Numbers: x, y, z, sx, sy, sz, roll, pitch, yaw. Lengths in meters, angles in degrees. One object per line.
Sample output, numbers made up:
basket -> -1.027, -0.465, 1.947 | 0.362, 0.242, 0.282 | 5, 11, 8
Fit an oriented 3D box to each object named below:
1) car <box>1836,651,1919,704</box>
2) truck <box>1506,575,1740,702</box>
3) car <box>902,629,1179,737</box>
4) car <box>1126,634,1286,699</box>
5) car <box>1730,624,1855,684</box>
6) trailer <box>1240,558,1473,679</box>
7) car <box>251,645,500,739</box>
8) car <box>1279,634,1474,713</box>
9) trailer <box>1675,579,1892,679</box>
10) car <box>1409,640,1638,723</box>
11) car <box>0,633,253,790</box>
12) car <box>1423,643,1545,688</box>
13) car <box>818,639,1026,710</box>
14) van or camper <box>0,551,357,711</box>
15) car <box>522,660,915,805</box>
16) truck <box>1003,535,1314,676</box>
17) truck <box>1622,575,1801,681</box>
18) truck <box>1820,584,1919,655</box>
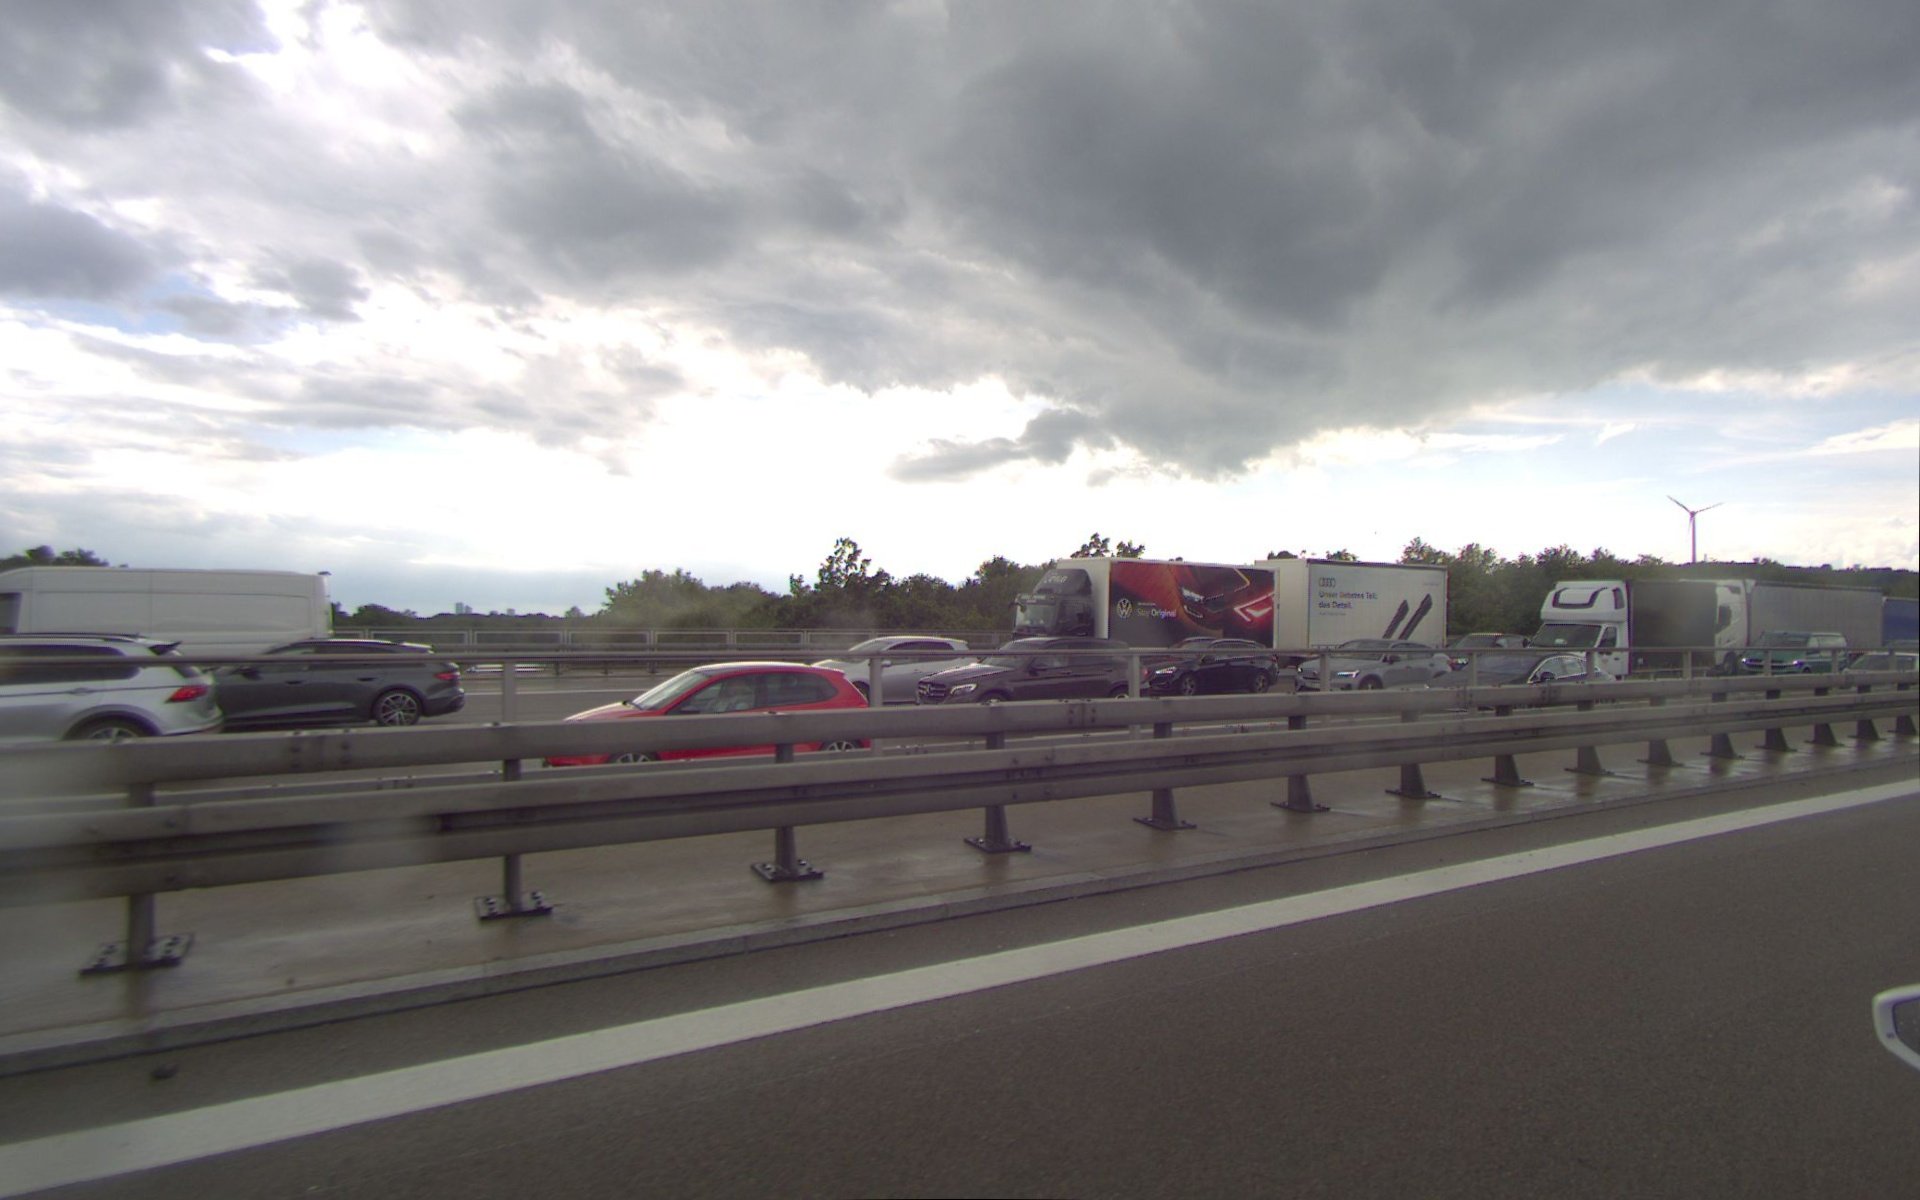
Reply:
car -> 27.605, 2.230, 29.469 | 3.953, 1.372, 1.711 | 1, -1, -30
truck -> 20.236, 1.144, 30.483 | 8.440, 3.444, 2.507 | 1, -1, -30
car -> 1.565, 1.444, 18.521 | 5.044, 1.750, 1.711 | 1, -1, -30
car -> 6.453, 1.693, 26.255 | 4.038, 1.555, 1.711 | 1, -1, -30
car -> 31.023, 1.962, 37.398 | 5.609, 2.079, 1.812 | 2, -1, -31
trailer -> 14.656, 0.690, 36.913 | 8.746, 4.012, 3.203 | 2, 0, -30
car -> -9.563, 1.451, 16.632 | 3.392, 1.351, 1.565 | 1, -1, -30
car -> 10.130, 1.705, 24.295 | 4.996, 1.722, 1.711 | 1, -1, -30
trailer -> 36.931, 1.295, 44.795 | 12.863, 3.986, 3.228 | 2, 0, -31
car -> 11.877, 1.618, 21.042 | 5.438, 1.522, 1.711 | 1, -1, -30
car -> -10.918, 1.207, 11.312 | 4.729, 1.646, 1.753 | 1, -1, -33
car -> 17.287, 2.119, 33.132 | 4.038, 1.372, 1.711 | 1, -1, -30
car -> -0.784, 1.530, 21.461 | 4.168, 1.372, 1.660 | 1, -1, -30
van or camper -> -15.140, 0.542, 18.072 | 7.280, 2.612, 2.232 | 2, -1, -31
car -> -2.808, 1.461, 12.037 | 4.333, 1.372, 1.565 | 1, -1, -30
truck -> 6.521, 0.261, 32.114 | 10.161, 3.962, 3.210 | 2, 0, -30
truck -> 30.906, 1.128, 41.263 | 7.485, 3.986, 3.184 | 2, 0, -30
truck -> 59.395, 1.247, 63.307 | 17.544, 4.074, 2.634 | 1, -1, -31
